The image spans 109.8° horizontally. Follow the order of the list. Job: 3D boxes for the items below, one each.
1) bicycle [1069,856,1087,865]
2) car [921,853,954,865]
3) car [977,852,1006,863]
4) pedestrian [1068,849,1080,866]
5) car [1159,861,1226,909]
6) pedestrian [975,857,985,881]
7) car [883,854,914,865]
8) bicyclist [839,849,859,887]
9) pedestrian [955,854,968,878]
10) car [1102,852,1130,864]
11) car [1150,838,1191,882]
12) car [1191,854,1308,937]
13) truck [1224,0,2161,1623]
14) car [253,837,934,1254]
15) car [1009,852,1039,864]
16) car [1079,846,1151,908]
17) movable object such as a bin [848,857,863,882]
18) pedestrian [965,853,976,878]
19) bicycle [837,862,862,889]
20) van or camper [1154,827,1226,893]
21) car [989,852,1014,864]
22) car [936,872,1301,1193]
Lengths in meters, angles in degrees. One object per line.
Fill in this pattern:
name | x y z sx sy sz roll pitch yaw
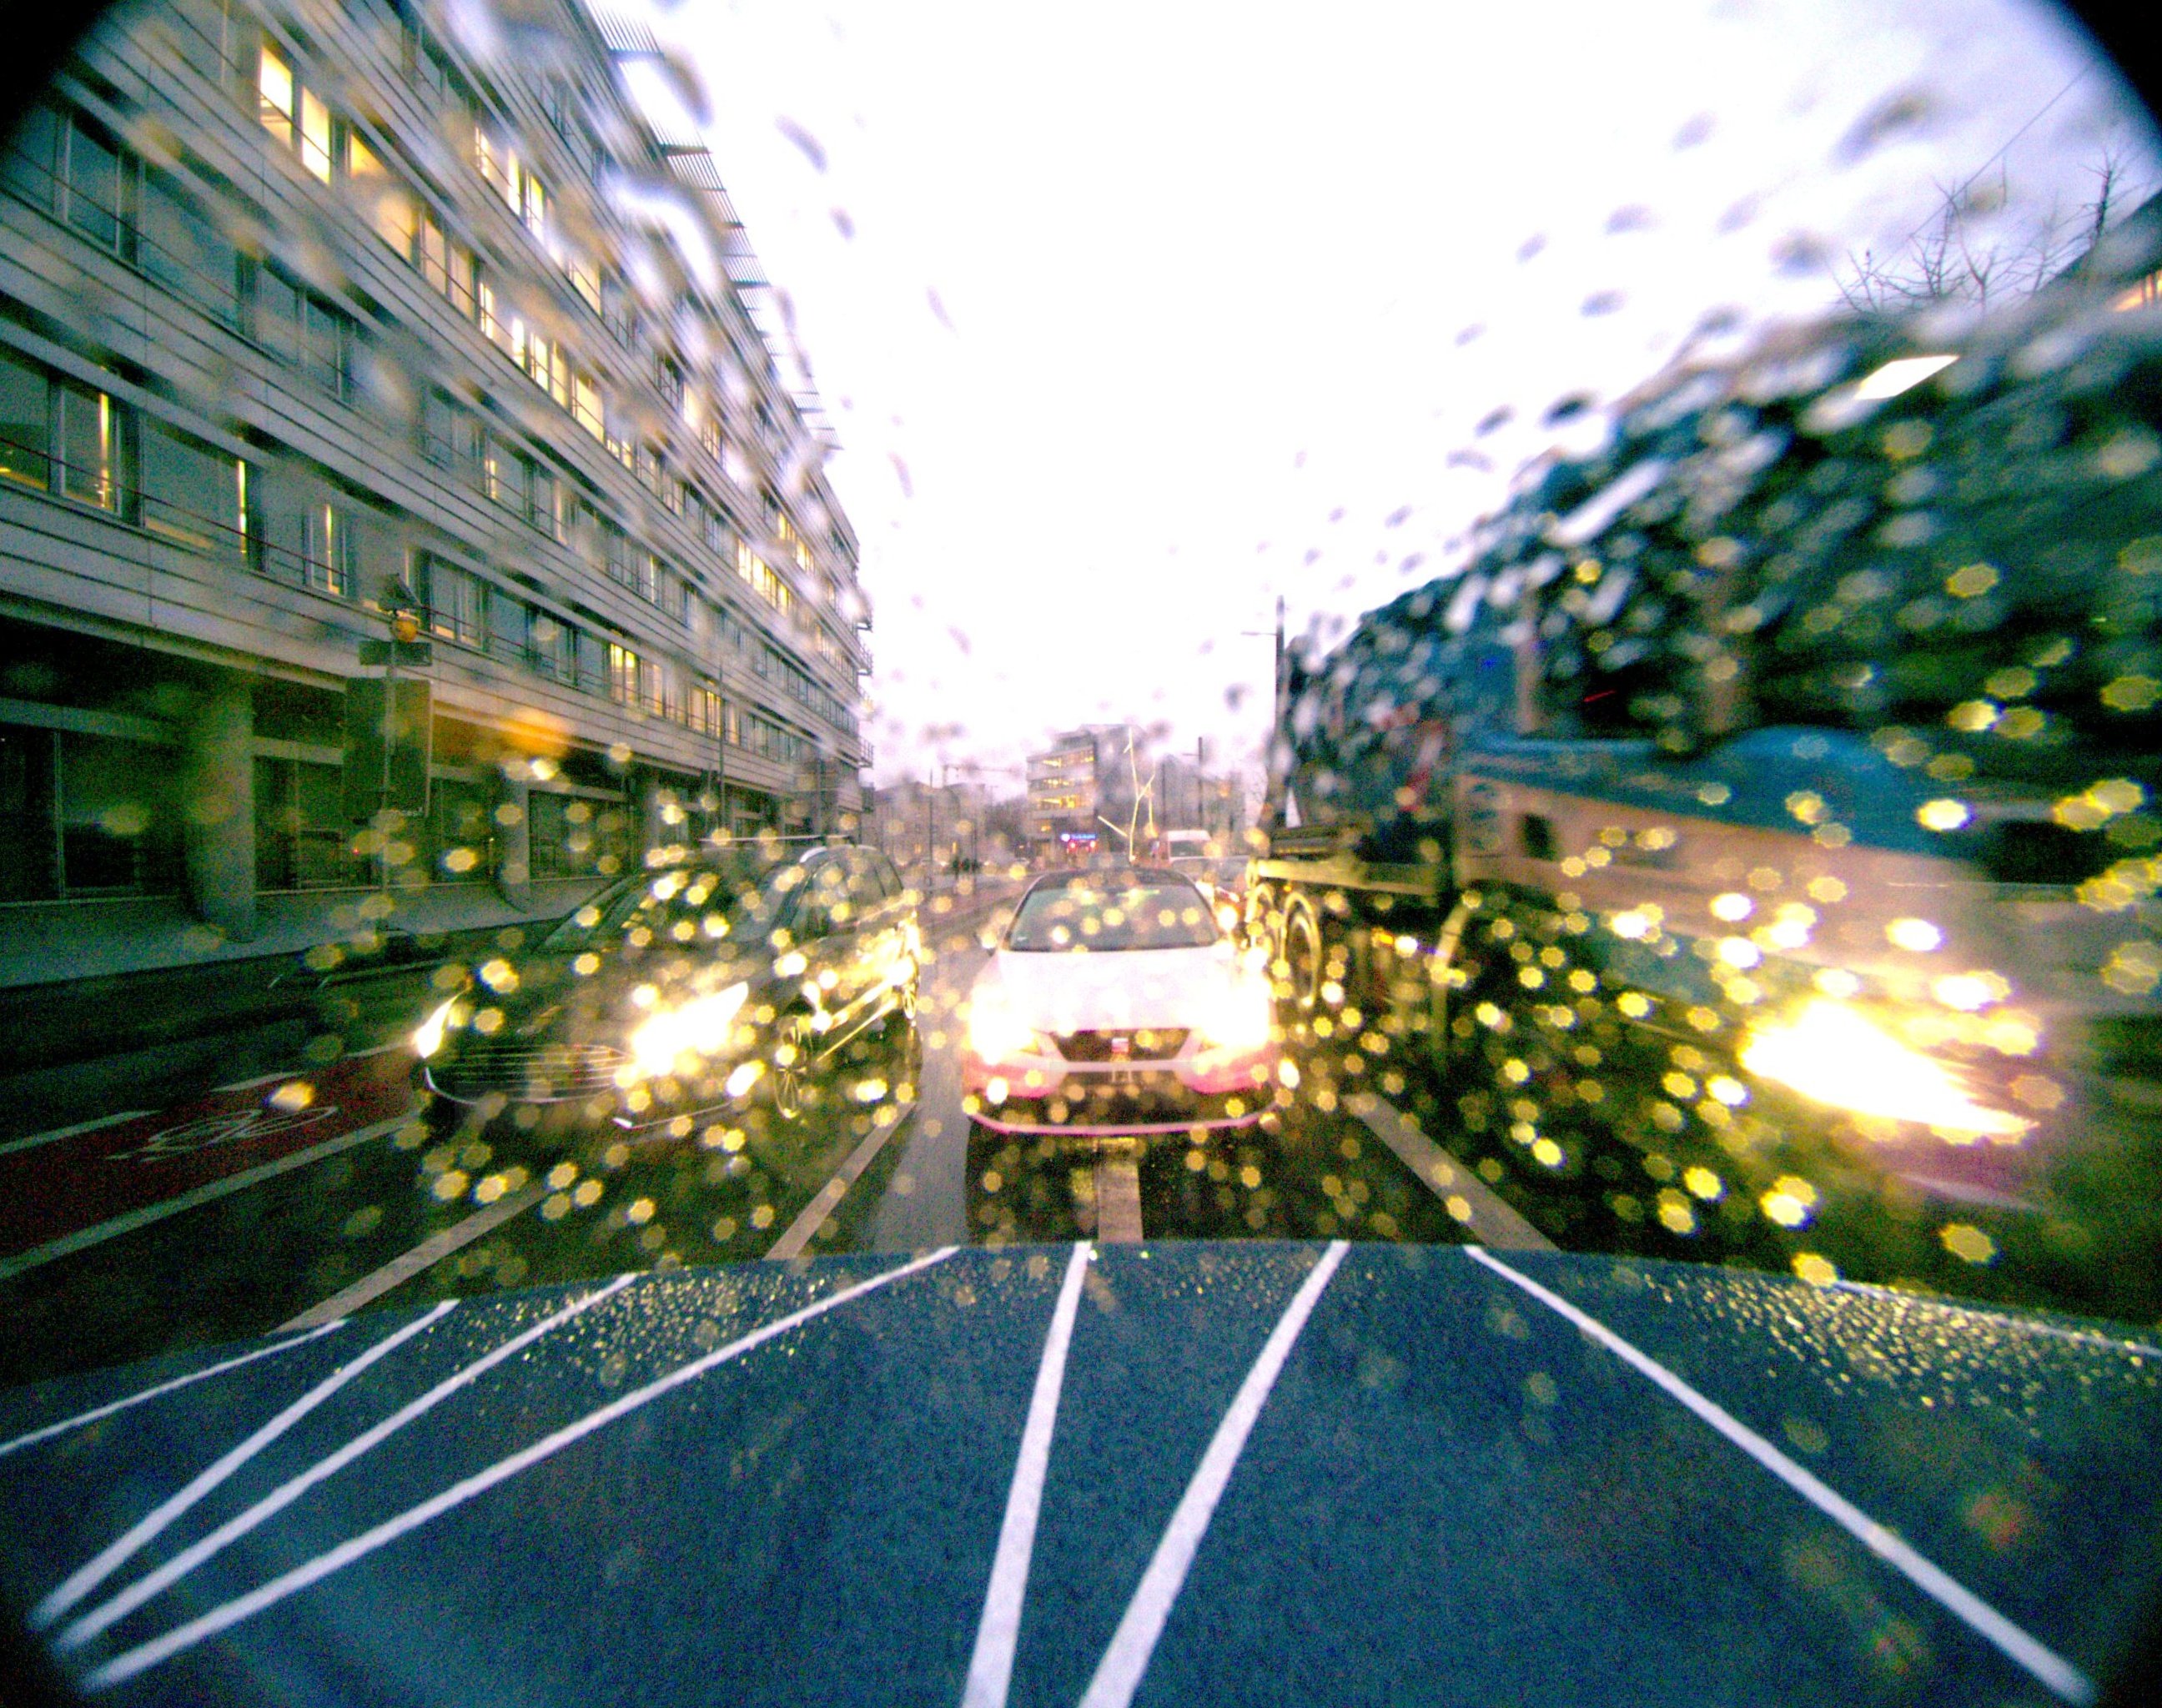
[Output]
bicycle | -0.318 0.789 94.731 2.203 1.182 0.668 0 1 3
car | -21.422 0.783 113.739 4.368 1.750 2.002 -1 1 17
car | -13.041 0.566 110.710 3.759 1.528 1.782 0 0 17
pedestrian | -0.836 0.451 89.839 1.118 2.002 1.034 0 1 15
car | 3.521 0.929 24.550 1.759 1.337 4.057 -1 0 3
pedestrian | -7.110 1.040 53.699 0.616 1.659 0.884 1 1 -3
car | -27.862 0.836 116.096 3.996 1.663 2.002 -1 1 17
bicyclist | -10.819 0.644 35.469 0.671 1.788 0.806 0 1 -3
pedestrian | -8.513 0.860 54.307 0.747 1.692 0.969 2 1 -3
car | 5.495 0.649 119.872 3.990 1.782 1.885 -1 1 25
car | 6.140 0.385 52.787 2.129 2.847 5.813 -1 0 0
car | 3.463 0.782 16.288 1.634 1.514 3.941 -1 0 0
truck | 3.168 -0.188 5.379 2.846 3.612 7.526 -1 0 0
car | -2.616 0.849 5.690 1.887 1.800 4.671 -2 0 2
car | -8.156 0.538 109.518 3.918 1.699 1.782 -1 1 15
car | 1.034 0.677 25.105 2.169 1.744 4.540 0 2 0
movable object such as a bin | -13.424 0.927 45.238 0.666 1.468 0.840 -1 1 -2
pedestrian | -7.814 0.807 53.645 0.651 1.692 0.884 1 1 -3
bicycle | -10.823 1.000 35.547 0.681 1.191 1.760 -1 1 -3
van or camper | 4.514 0.217 32.379 2.153 2.517 5.898 -1 0 0
car | -13.120 0.664 125.620 3.724 1.796 1.797 -1 0 21
car | 0.209 0.932 5.724 1.782 1.464 3.943 -1 0 1
